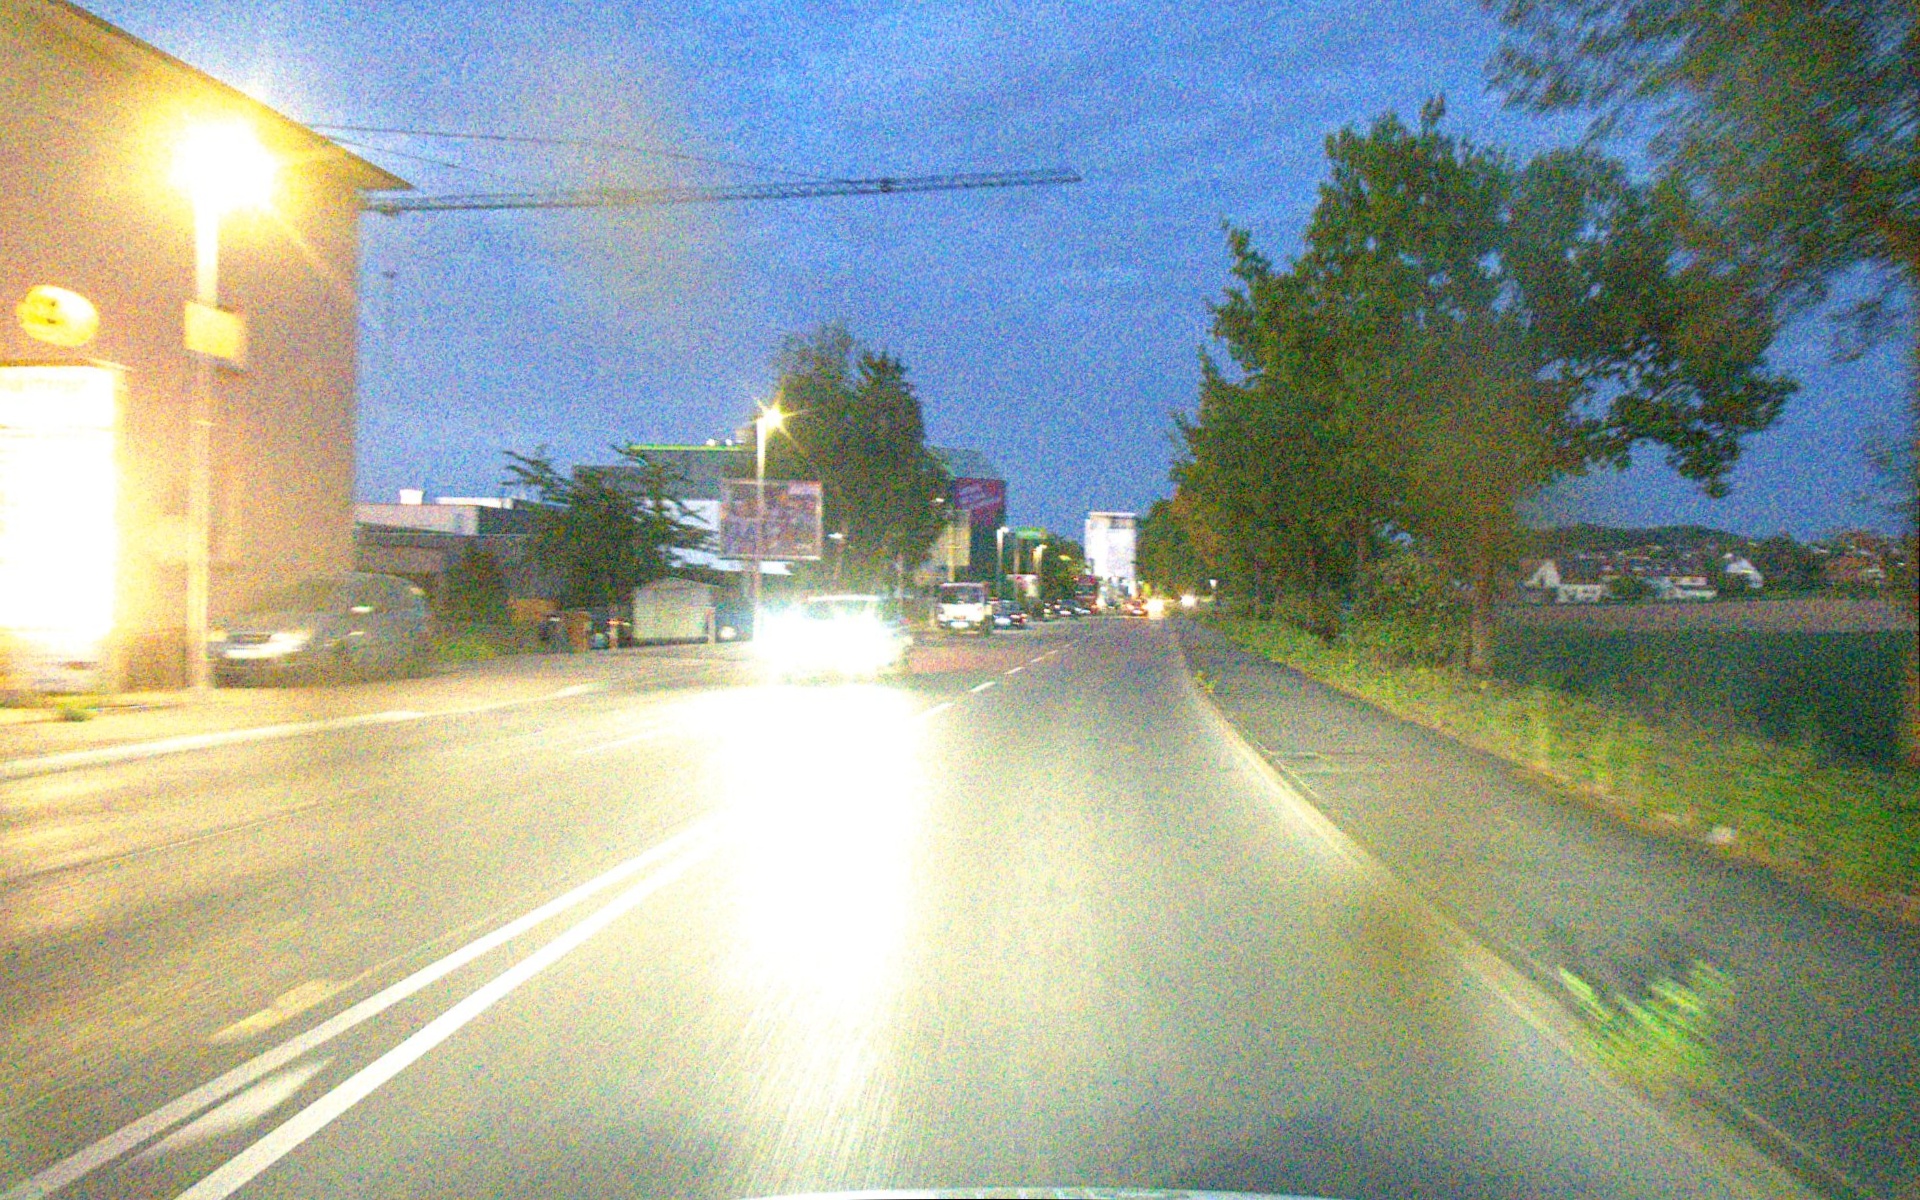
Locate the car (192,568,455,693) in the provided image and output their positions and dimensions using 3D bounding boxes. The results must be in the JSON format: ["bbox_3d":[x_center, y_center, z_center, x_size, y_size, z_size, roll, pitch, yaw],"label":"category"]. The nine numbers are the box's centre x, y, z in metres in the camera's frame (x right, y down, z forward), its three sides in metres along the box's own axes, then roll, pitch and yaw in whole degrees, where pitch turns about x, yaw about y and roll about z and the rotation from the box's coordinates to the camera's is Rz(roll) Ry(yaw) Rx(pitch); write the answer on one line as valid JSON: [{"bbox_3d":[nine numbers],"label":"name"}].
[{"bbox_3d":[-9.217,0.414,24.392,1.718,1.635,4.455,1,0,6],"label":"car"}]

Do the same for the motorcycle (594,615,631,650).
[{"bbox_3d":[-12.124,1.117,57.749,0.966,1.164,1.847,1,0,-3],"label":"motorcycle"}]

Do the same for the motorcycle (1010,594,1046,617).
[{"bbox_3d":[6.152,0.491,148.884,1.295,2.048,3.988,4,2,34],"label":"motorcycle"}]

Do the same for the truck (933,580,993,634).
[{"bbox_3d":[0.183,0.286,68.911,2.201,2.167,5.982,-1,0,3],"label":"truck"}]

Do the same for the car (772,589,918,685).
[{"bbox_3d":[-2.042,0.629,30.720,1.718,1.635,4.456,0,0,9],"label":"car"}]

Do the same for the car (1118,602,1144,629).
[{"bbox_3d":[14.054,1.262,135.885,1.951,2.048,4.003,-2,1,5],"label":"car"}]

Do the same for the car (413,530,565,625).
[{"bbox_3d":[-11.080,-0.566,39.210,1.951,2.048,4.004,3,2,7],"label":"car"}]

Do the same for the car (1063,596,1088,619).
[{"bbox_3d":[10.352,0.621,148.258,1.952,1.930,4.001,-1,1,1],"label":"car"}]

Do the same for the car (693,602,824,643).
[{"bbox_3d":[-6.955,0.762,57.375,4.257,1.383,1.643,0,0,4],"label":"car"}]

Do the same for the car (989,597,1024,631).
[{"bbox_3d":[2.345,0.703,83.227,1.682,1.646,3.840,0,0,2],"label":"car"}]

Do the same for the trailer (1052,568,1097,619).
[{"bbox_3d":[12.308,-0.810,178.944,3.763,4.975,10.809,3,2,-1],"label":"trailer"}]

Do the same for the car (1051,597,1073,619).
[{"bbox_3d":[8.393,0.646,135.910,1.689,1.769,3.808,0,0,2],"label":"car"}]

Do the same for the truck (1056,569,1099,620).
[{"bbox_3d":[12.364,-0.644,173.915,3.763,4.975,6.353,3,2,-1],"label":"truck"}]
